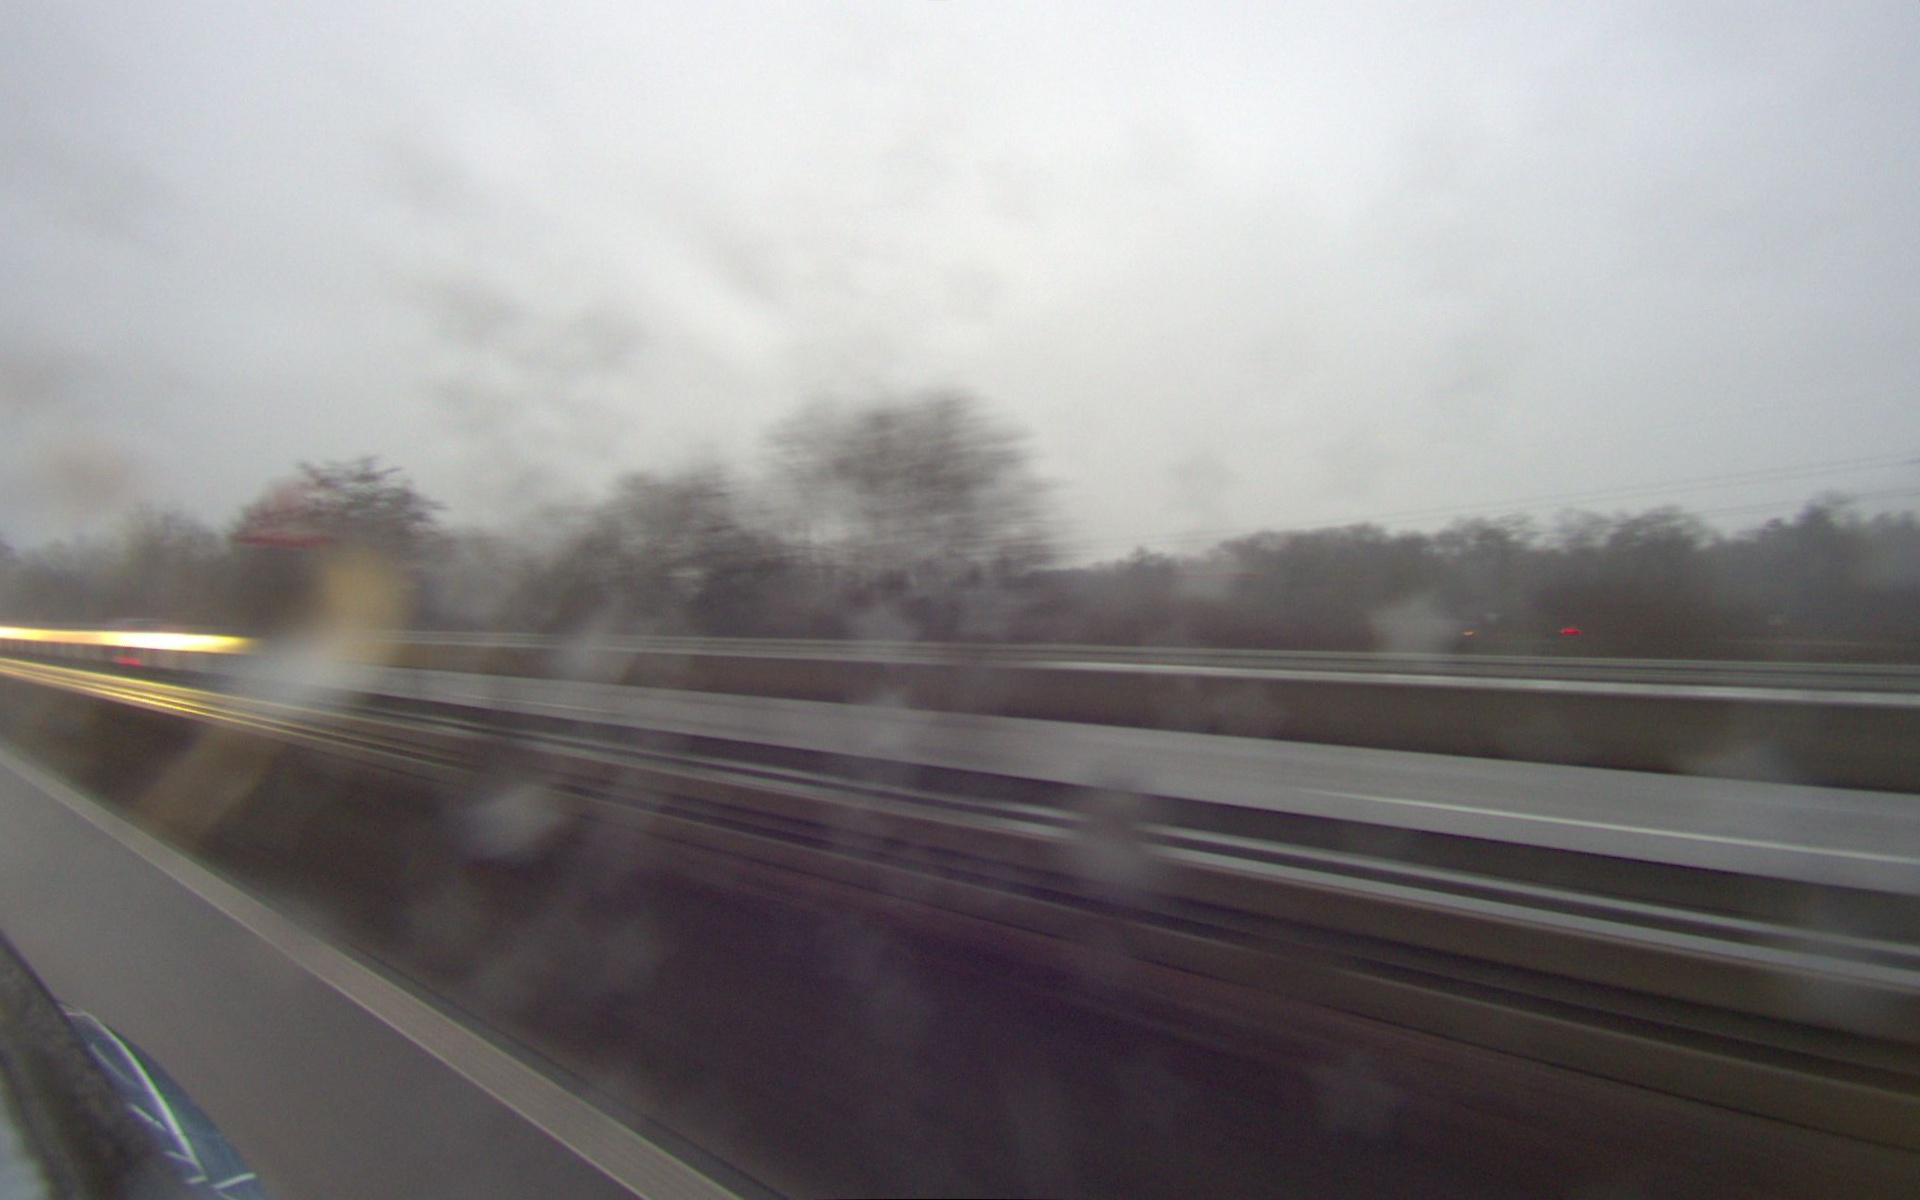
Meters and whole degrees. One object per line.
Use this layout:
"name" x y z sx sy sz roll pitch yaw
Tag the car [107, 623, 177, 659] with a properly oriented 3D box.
"car" -34.308 1.673 42.395 3.997 1.375 1.518 -1 1 40
